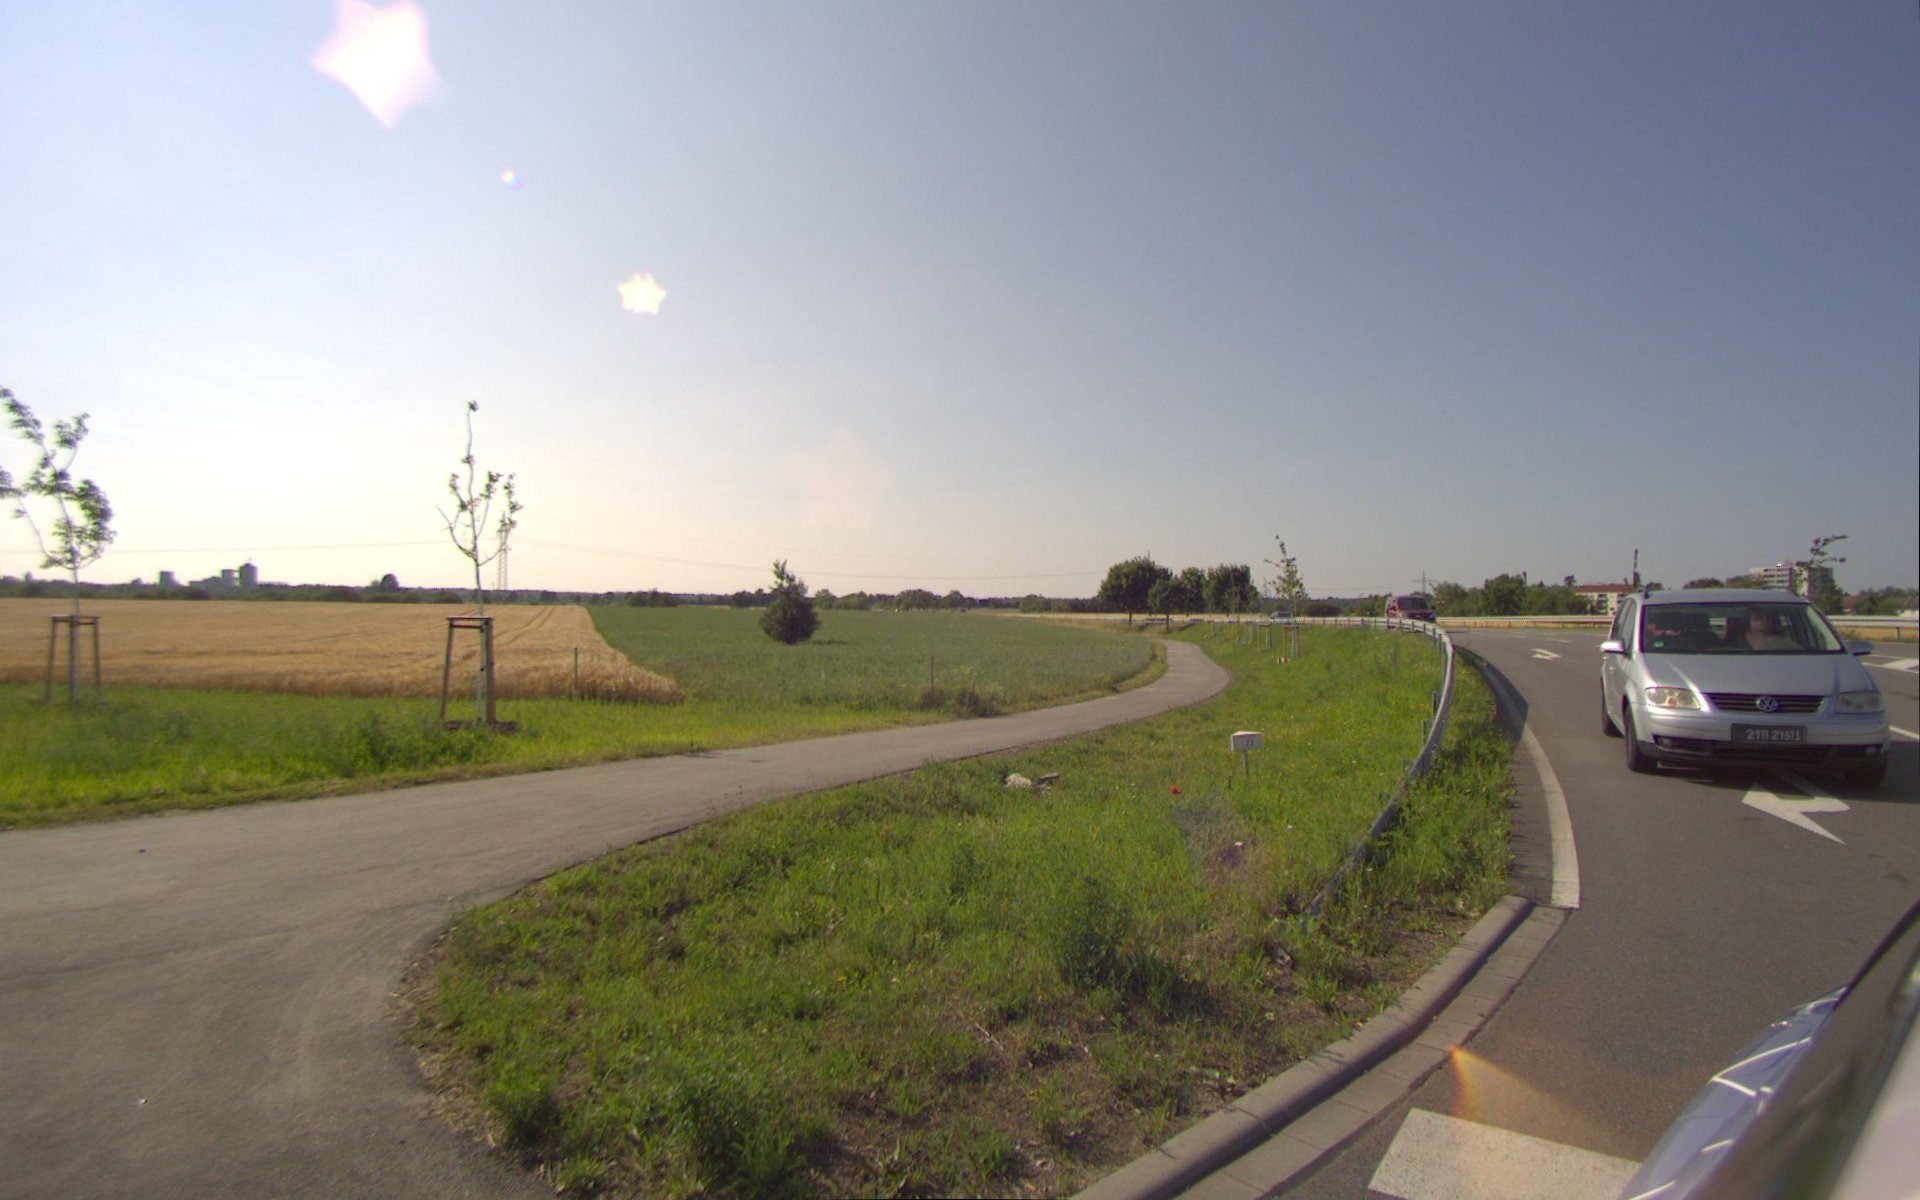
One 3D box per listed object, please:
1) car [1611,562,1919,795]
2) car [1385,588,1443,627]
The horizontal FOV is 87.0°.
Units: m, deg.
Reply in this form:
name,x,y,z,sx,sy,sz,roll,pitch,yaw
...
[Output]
name,x,y,z,sx,sy,sz,roll,pitch,yaw
car,7.422,0.582,9.690,1.741,1.716,4.170,-2,0,30
car,22.296,0.364,49.890,1.668,1.860,4.680,0,0,12
